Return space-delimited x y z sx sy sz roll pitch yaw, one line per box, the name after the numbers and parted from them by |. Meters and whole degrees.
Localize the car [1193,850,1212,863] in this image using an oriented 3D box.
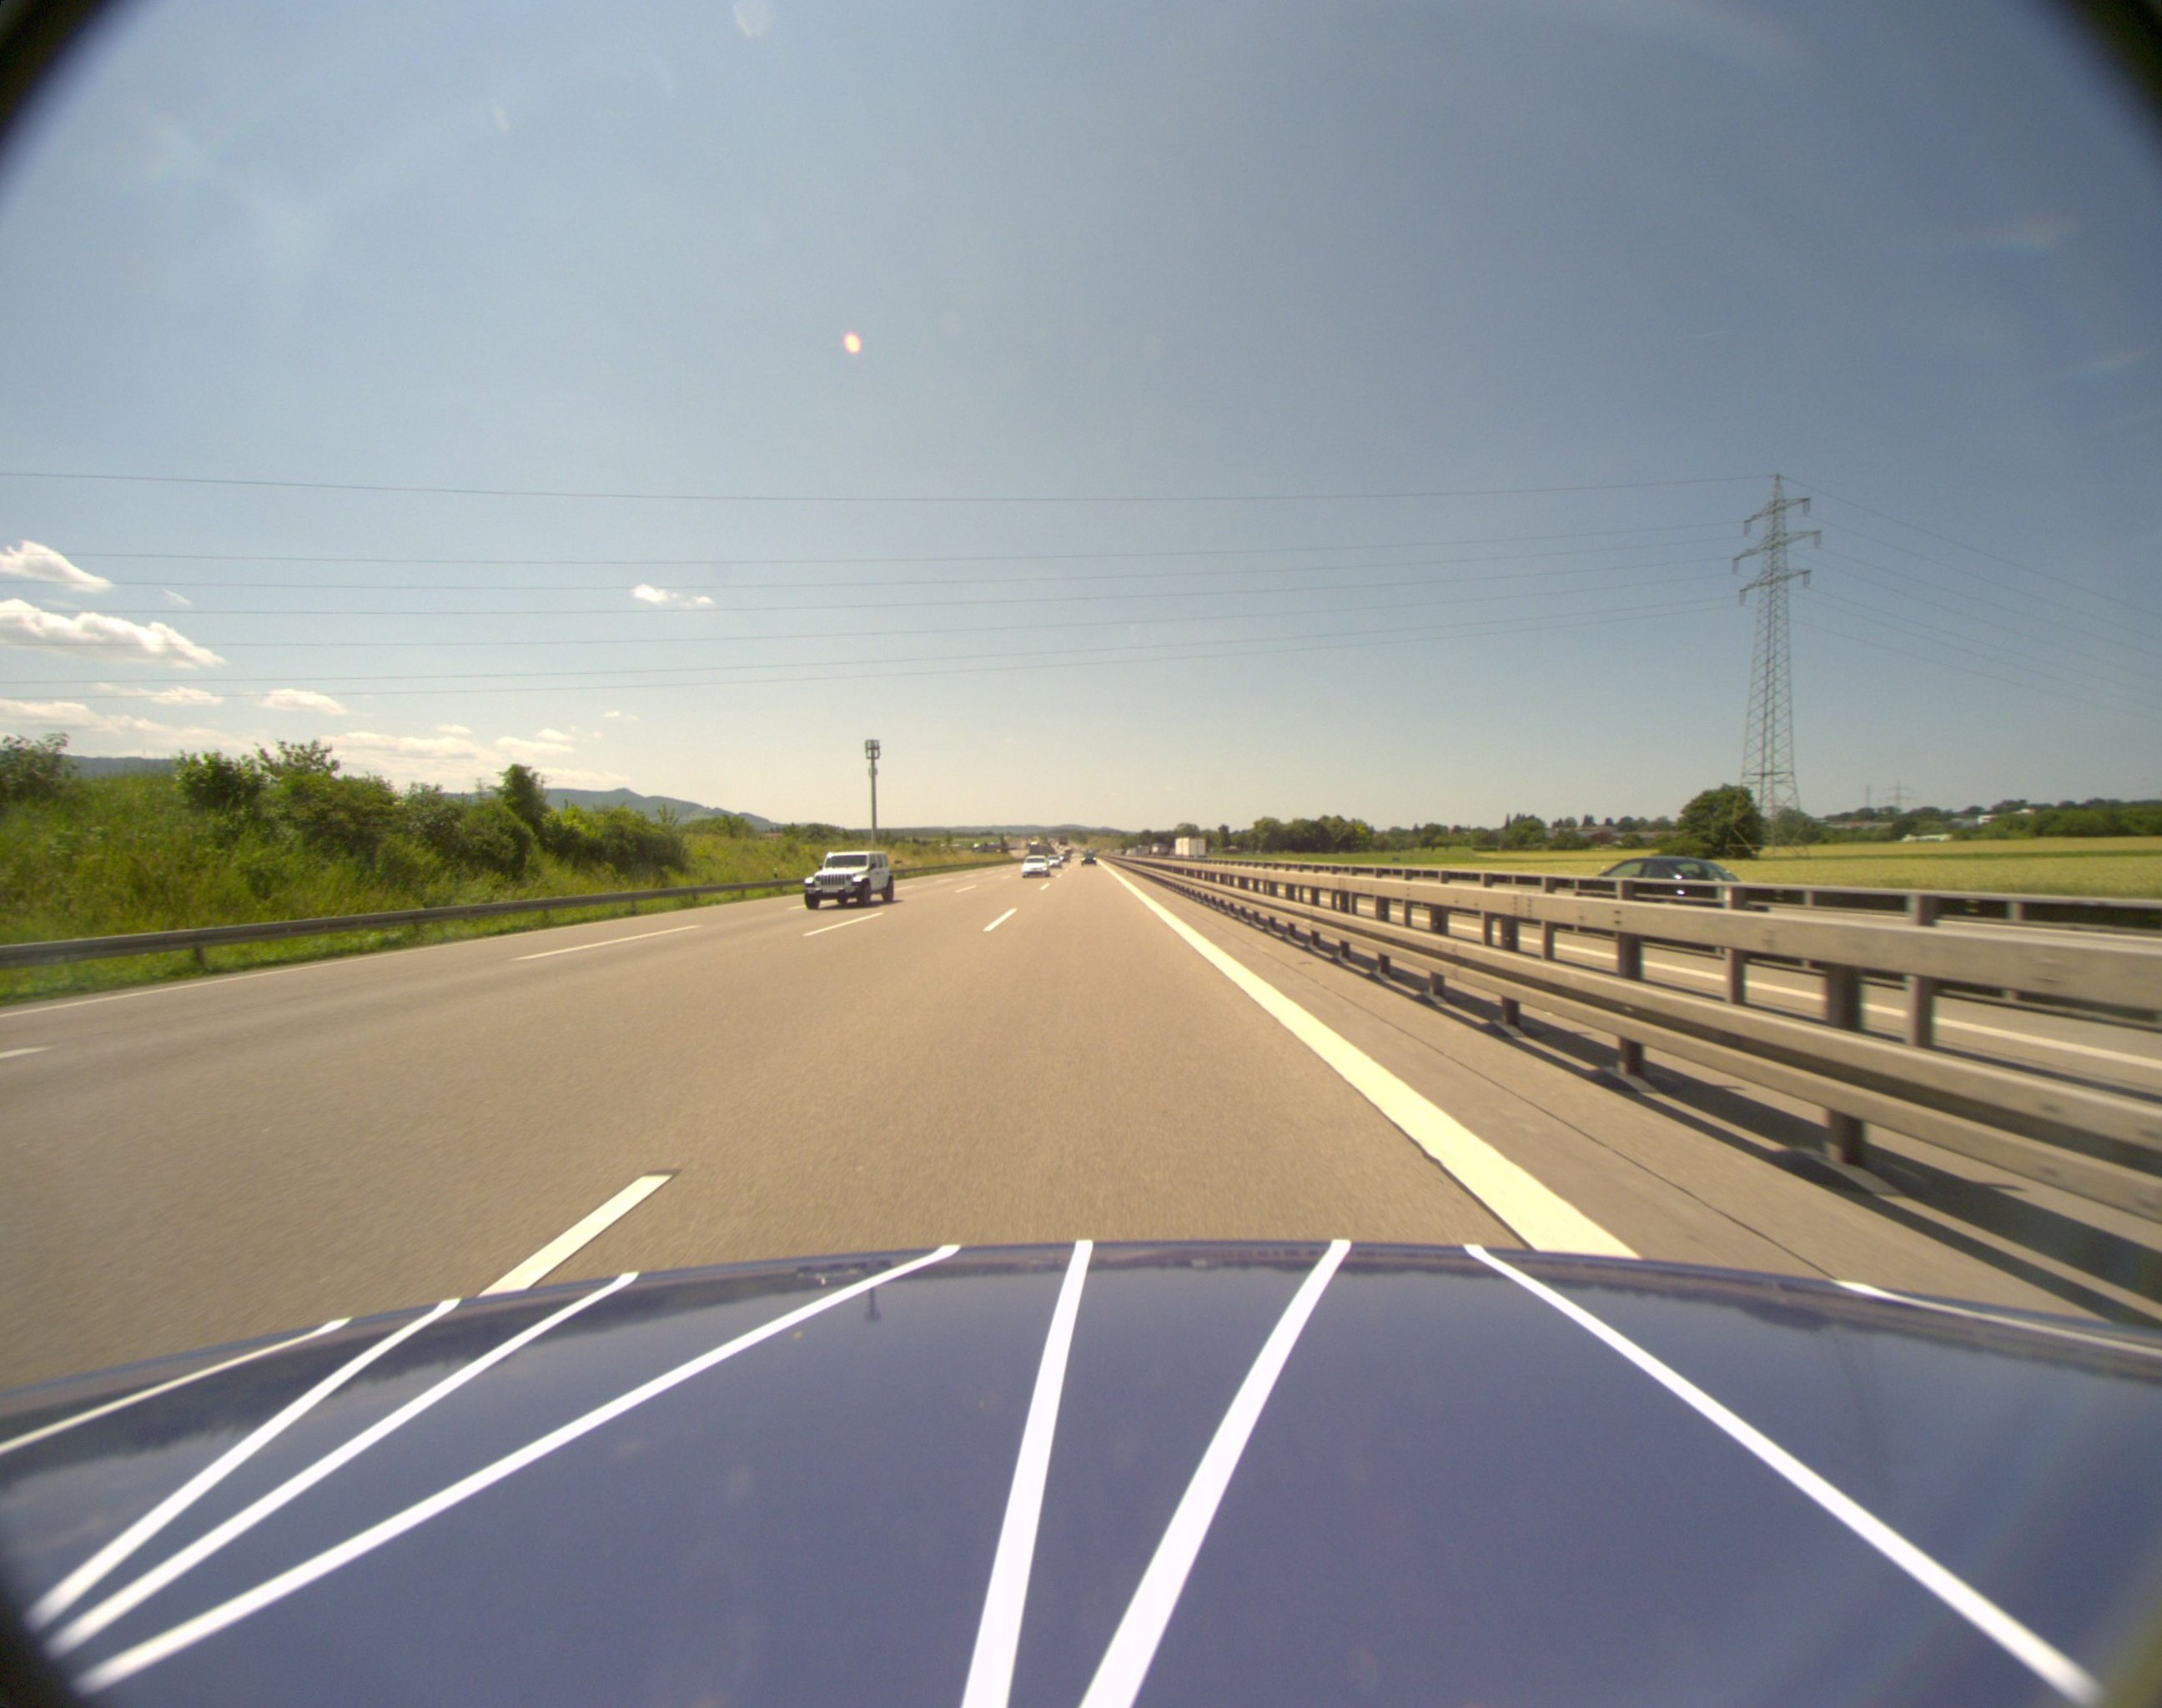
13.549 0.314 85.161 1.486 1.417 3.608 1 0 -1 | car

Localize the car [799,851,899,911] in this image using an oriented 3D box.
-7.836 0.853 26.128 2.040 1.794 4.250 -2 1 0 | car

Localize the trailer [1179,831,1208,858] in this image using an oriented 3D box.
17.893 -1.597 121.899 2.840 4.023 11.663 -2 1 0 | trailer

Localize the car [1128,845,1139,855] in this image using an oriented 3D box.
11.003 -0.842 160.568 1.989 1.998 4.648 1 1 1 | car

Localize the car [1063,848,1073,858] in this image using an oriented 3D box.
-2.215 -0.131 130.987 1.751 1.559 3.999 -2 1 -1 | car

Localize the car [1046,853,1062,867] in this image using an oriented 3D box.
-2.962 0.602 83.119 1.634 1.381 3.999 -2 1 -1 | car

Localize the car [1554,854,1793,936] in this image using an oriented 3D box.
12.702 0.784 16.758 1.675 1.432 4.565 1 1 0 | car

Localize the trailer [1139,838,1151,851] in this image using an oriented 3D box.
20.587 -2.985 244.539 2.965 3.895 12.892 -2 1 1 | trailer

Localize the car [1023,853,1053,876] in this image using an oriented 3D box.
-2.940 0.685 53.125 1.780 1.425 4.690 -2 1 0 | car

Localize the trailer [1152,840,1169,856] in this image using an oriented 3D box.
19.297 -1.439 184.890 2.714 3.671 11.355 -2 1 -2 | trailer

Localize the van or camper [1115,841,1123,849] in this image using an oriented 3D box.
12.025 -2.860 240.793 2.128 2.560 6.121 -2 1 1 | van or camper

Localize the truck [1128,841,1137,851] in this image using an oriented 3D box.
15.550 -2.313 231.460 2.255 2.992 7.427 1 1 1 | truck

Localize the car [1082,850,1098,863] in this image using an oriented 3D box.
1.034 0.324 91.717 1.751 1.439 3.999 -2 1 -1 | car

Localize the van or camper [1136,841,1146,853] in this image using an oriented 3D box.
15.940 -1.845 202.523 2.346 3.147 7.400 0 1 1 | van or camper
